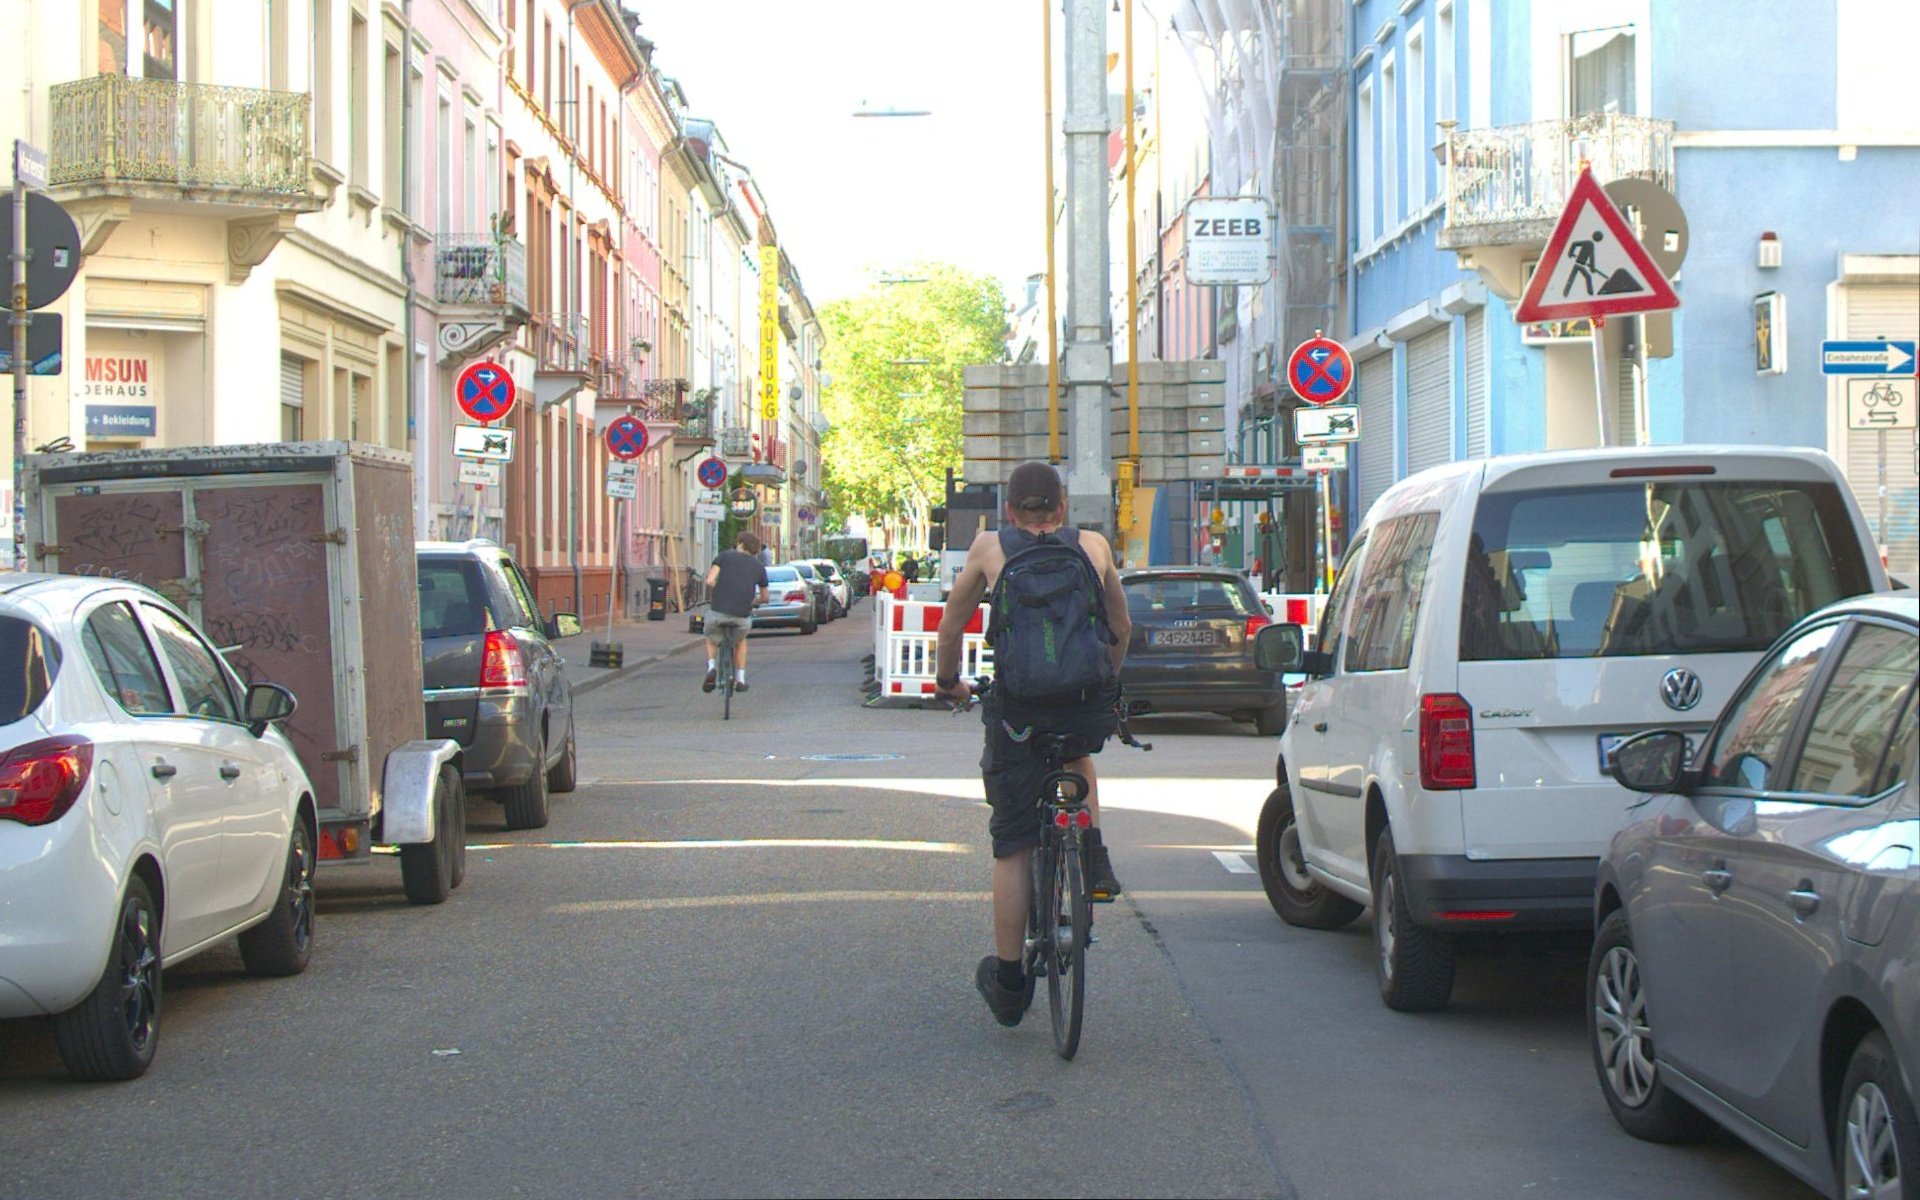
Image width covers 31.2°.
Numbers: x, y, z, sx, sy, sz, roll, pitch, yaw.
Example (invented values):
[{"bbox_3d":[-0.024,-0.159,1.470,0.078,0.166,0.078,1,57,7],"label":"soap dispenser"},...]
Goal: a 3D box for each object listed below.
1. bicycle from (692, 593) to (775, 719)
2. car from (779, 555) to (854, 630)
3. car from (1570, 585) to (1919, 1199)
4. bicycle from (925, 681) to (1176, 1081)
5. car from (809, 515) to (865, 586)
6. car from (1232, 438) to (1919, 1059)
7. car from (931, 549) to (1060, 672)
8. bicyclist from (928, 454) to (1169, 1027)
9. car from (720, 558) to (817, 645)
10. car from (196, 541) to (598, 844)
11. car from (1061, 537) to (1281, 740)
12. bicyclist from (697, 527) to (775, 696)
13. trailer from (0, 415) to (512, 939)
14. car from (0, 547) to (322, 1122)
[{"bbox_3d":[-2.111,0.508,32.293,0.648,1.126,2.136,1,0,-1],"label":"bicycle"},{"bbox_3d":[-3.579,-0.189,86.158,1.750,1.815,3.796,-1,0,-1],"label":"car"},{"bbox_3d":[2.527,0.707,7.469,1.750,1.481,3.799,-1,0,1],"label":"car"},{"bbox_3d":[0.246,0.821,10.734,0.677,1.071,1.942,1,0,-1],"label":"bicycle"},{"bbox_3d":[-4.115,-1.654,115.369,1.750,2.310,3.796,-1,0,-1],"label":"car"},{"bbox_3d":[2.140,0.446,12.530,1.750,1.872,3.973,-1,0,-3],"label":"car"},{"bbox_3d":[0.441,0.130,46.146,1.611,1.555,3.610,1,0,-1],"label":"car"},{"bbox_3d":[0.255,0.410,10.639,0.667,1.671,1.097,1,0,-1],"label":"bicyclist"},{"bbox_3d":[-3.825,0.023,69.157,1.750,1.678,3.796,-1,0,-1],"label":"car"},{"bbox_3d":[-3.171,0.481,20.037,1.750,1.567,3.796,-1,0,-1],"label":"car"},{"bbox_3d":[1.773,0.308,29.843,1.611,1.628,3.610,1,0,-1],"label":"car"},{"bbox_3d":[-2.109,0.108,32.434,0.671,1.562,0.716,1,0,-1],"label":"bicyclist"},{"bbox_3d":[-3.224,0.306,15.722,1.882,2.085,3.737,-1,0,-1],"label":"trailer"},{"bbox_3d":[-3.190,0.632,10.979,1.653,1.532,3.634,-1,0,-1],"label":"car"}]
